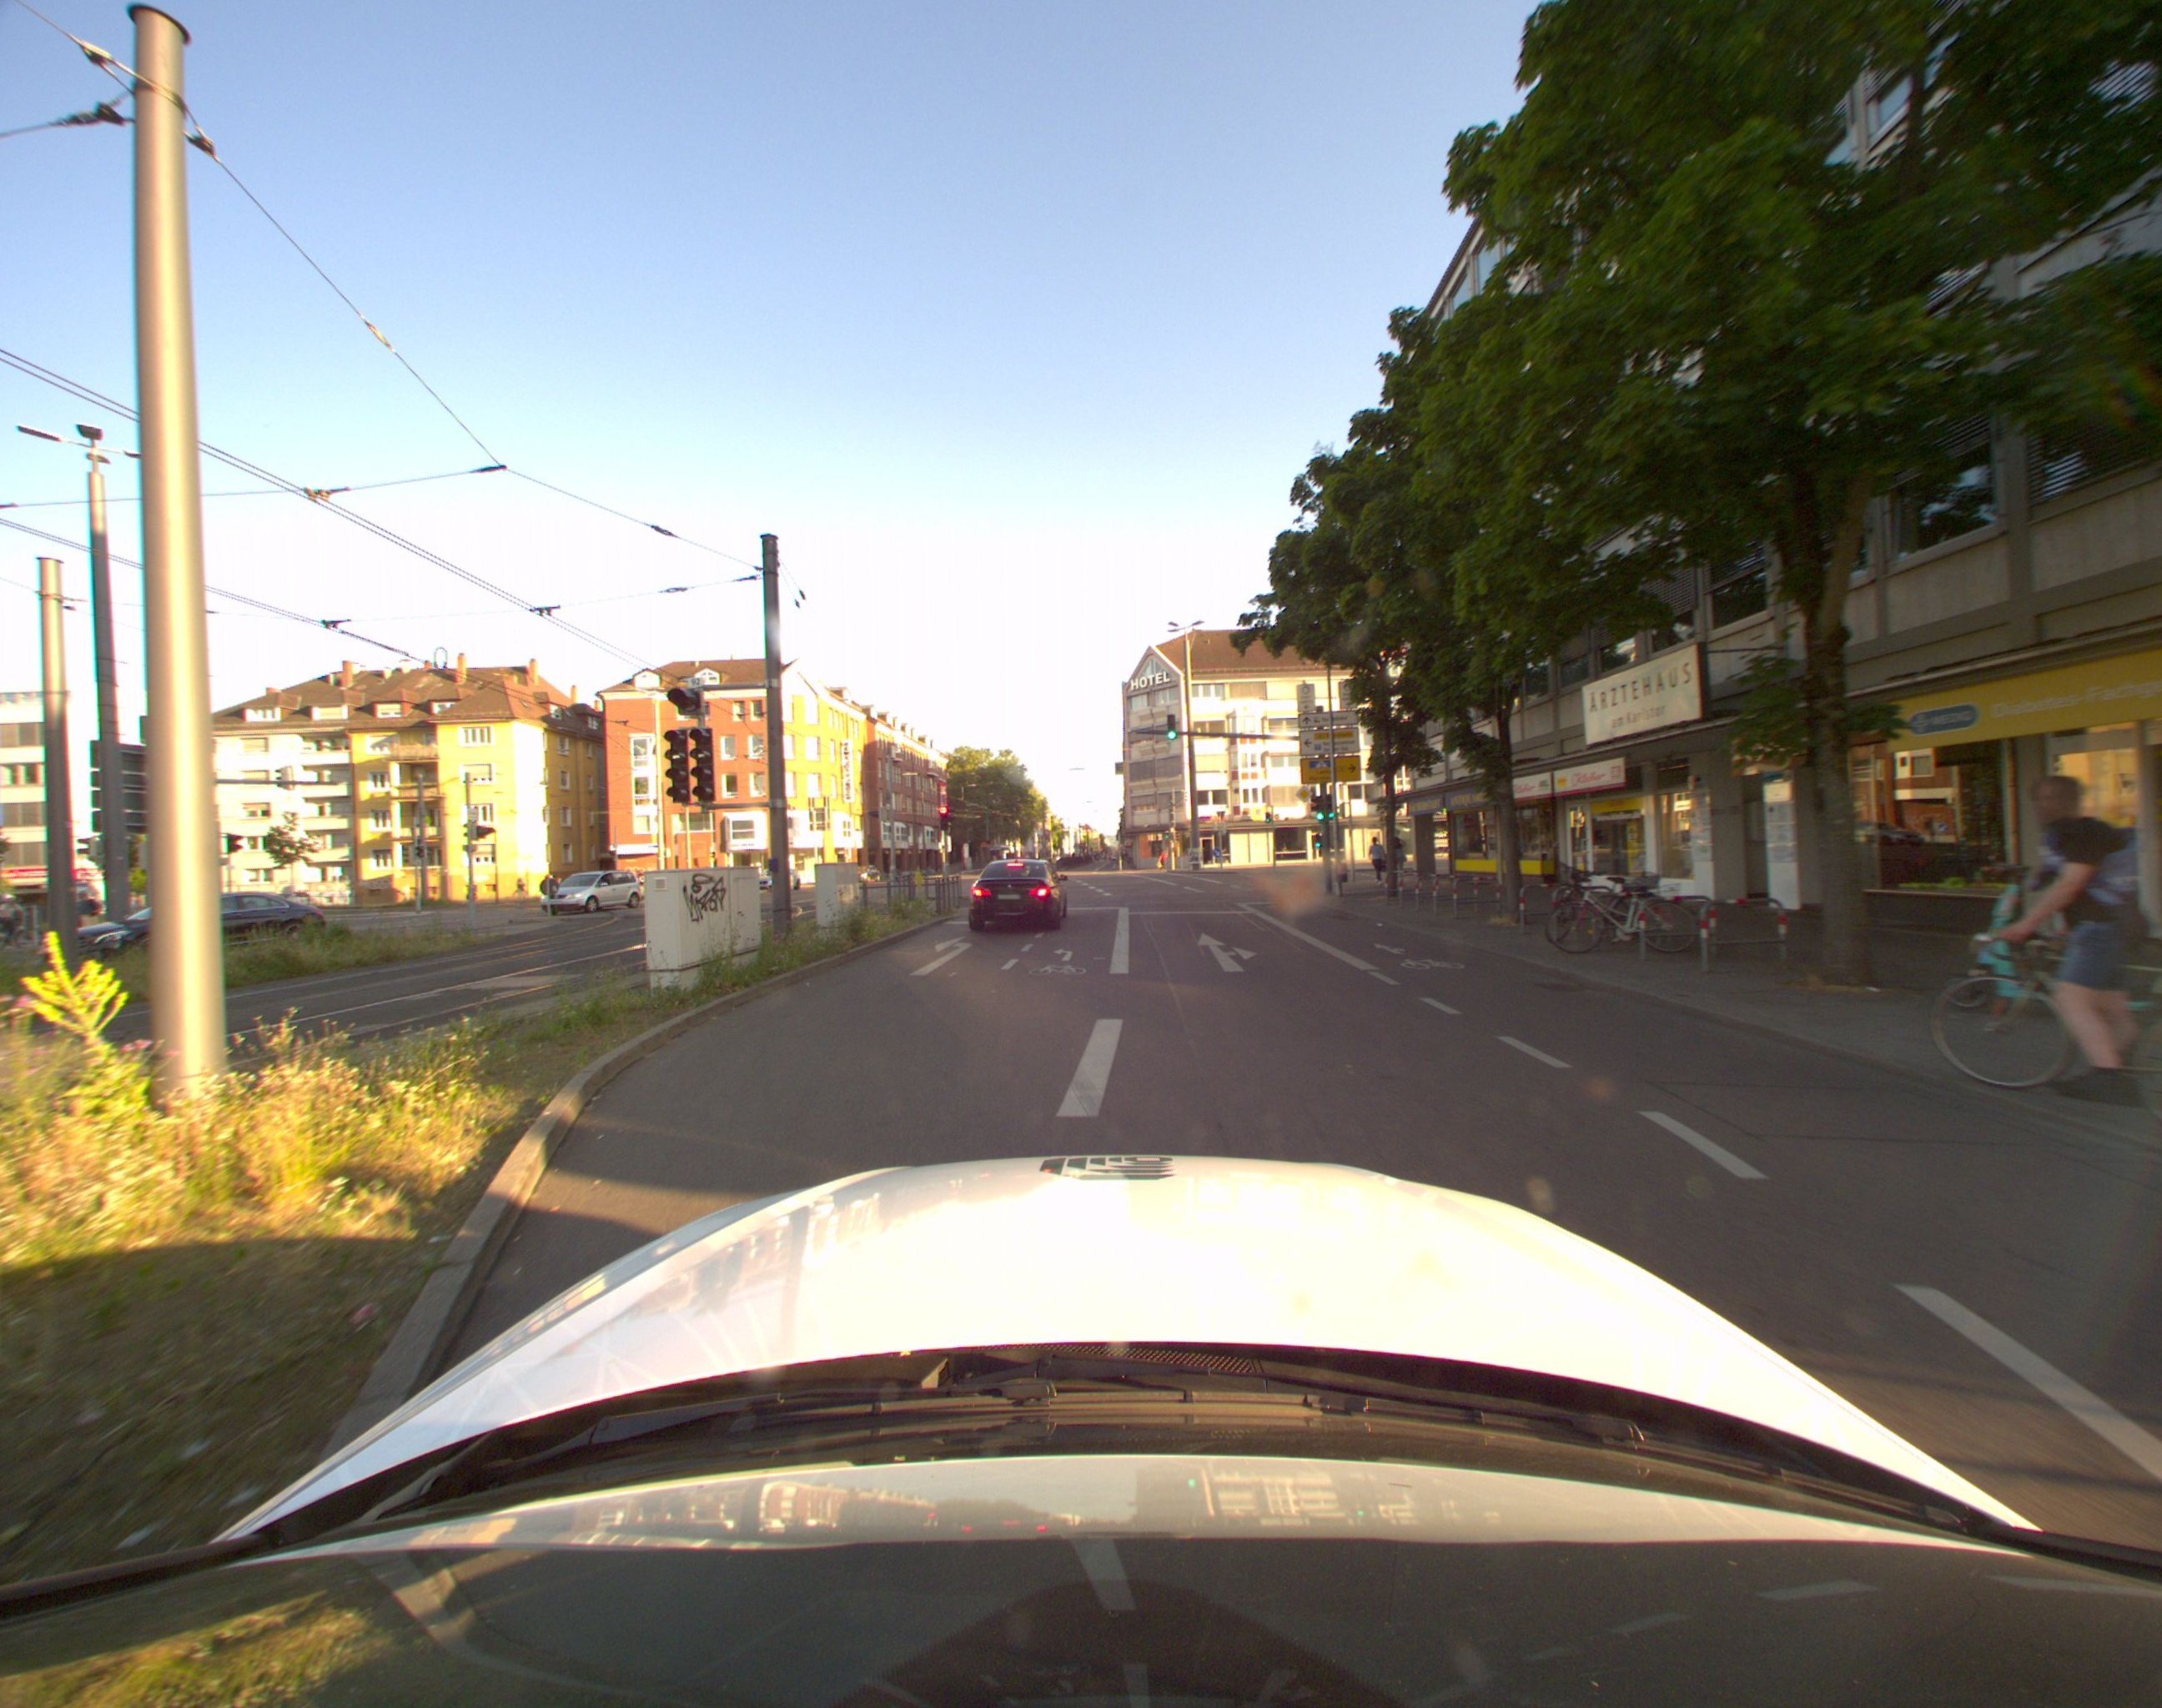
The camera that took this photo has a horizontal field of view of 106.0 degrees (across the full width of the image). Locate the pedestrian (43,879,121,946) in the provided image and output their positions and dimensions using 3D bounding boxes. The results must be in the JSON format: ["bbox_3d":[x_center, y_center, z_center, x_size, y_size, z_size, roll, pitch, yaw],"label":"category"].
[{"bbox_3d":[-31.169,1.806,25.429,1.099,1.944,1.019,-2,0,-17],"label":"pedestrian"}]

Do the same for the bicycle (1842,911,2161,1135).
[{"bbox_3d":[5.469,0.886,4.630,0.464,0.970,1.797,-2,0,-5],"label":"bicycle"}]

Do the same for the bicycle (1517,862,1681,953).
[{"bbox_3d":[7.536,0.781,11.932,1.891,1.235,0.670,-2,0,13],"label":"bicycle"}]

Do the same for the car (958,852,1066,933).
[{"bbox_3d":[-1.388,0.744,17.916,1.987,1.585,4.000,0,0,0],"label":"car"}]

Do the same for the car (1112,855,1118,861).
[{"bbox_3d":[8.611,0.960,206.683,1.467,1.515,3.097,-2,0,2],"label":"car"}]

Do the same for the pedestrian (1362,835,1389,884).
[{"bbox_3d":[10.328,0.201,28.584,0.681,1.667,0.672,-2,0,6],"label":"pedestrian"}]

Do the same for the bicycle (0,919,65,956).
[{"bbox_3d":[-34.495,2.703,26.293,2.003,1.060,0.892,-2,0,-9],"label":"bicycle"}]

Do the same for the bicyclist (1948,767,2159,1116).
[{"bbox_3d":[5.456,0.458,4.595,0.464,1.830,0.558,-2,0,-6],"label":"bicyclist"}]

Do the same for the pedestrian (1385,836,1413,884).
[{"bbox_3d":[11.264,0.209,28.866,0.719,1.667,0.672,-2,0,6],"label":"pedestrian"}]

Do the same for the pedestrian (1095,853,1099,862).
[{"bbox_3d":[3.985,0.900,198.039,0.911,2.013,0.887,-2,0,1],"label":"pedestrian"}]

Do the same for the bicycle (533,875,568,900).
[{"bbox_3d":[-29.111,1.824,44.714,0.616,1.325,2.014,0,0,-1],"label":"bicycle"}]

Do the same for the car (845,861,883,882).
[{"bbox_3d":[-18.274,1.462,68.792,1.987,1.585,4.479,-3,0,0],"label":"car"}]

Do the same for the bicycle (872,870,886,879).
[{"bbox_3d":[-21.460,2.165,86.484,1.415,0.922,0.442,0,0,-14],"label":"bicycle"}]

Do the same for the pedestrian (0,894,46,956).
[{"bbox_3d":[-34.477,2.279,26.323,0.843,1.910,0.892,-2,0,-9],"label":"pedestrian"}]

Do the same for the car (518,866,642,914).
[{"bbox_3d":[-19.758,1.375,32.335,1.983,1.585,4.122,-3,0,7],"label":"car"}]

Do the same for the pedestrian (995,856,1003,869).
[{"bbox_3d":[-11.204,1.146,111.612,0.984,1.681,0.726,-2,0,1],"label":"pedestrian"}]

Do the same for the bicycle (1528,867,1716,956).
[{"bbox_3d":[7.258,0.769,11.018,1.981,1.110,0.671,-2,0,15],"label":"bicycle"}]

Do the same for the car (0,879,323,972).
[{"bbox_3d":[-20.228,1.480,18.316,1.987,1.585,4.587,-3,0,0],"label":"car"}]

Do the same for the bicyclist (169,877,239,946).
[{"bbox_3d":[-22.840,1.474,21.229,0.658,1.688,0.982,-3,0,9],"label":"bicyclist"}]

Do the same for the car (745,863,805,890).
[{"bbox_3d":[-18.848,1.341,50.288,1.660,1.448,4.209,-2,0,6],"label":"car"}]

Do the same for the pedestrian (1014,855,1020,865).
[{"bbox_3d":[-10.291,0.939,131.509,0.720,1.681,0.992,-2,0,5],"label":"pedestrian"}]

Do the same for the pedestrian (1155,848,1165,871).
[{"bbox_3d":[6.457,0.433,66.377,0.682,1.854,0.670,-2,0,-1],"label":"pedestrian"}]

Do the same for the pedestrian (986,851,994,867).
[{"bbox_3d":[-11.863,0.628,106.198,0.984,2.013,0.726,-1,0,1],"label":"pedestrian"}]

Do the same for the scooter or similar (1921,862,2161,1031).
[{"bbox_3d":[7.675,0.699,6.532,1.262,1.235,0.340,-2,0,44],"label":"scooter or similar"}]

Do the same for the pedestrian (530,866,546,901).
[{"bbox_3d":[-29.675,1.621,44.495,0.501,1.868,0.562,0,0,-3],"label":"pedestrian"}]
